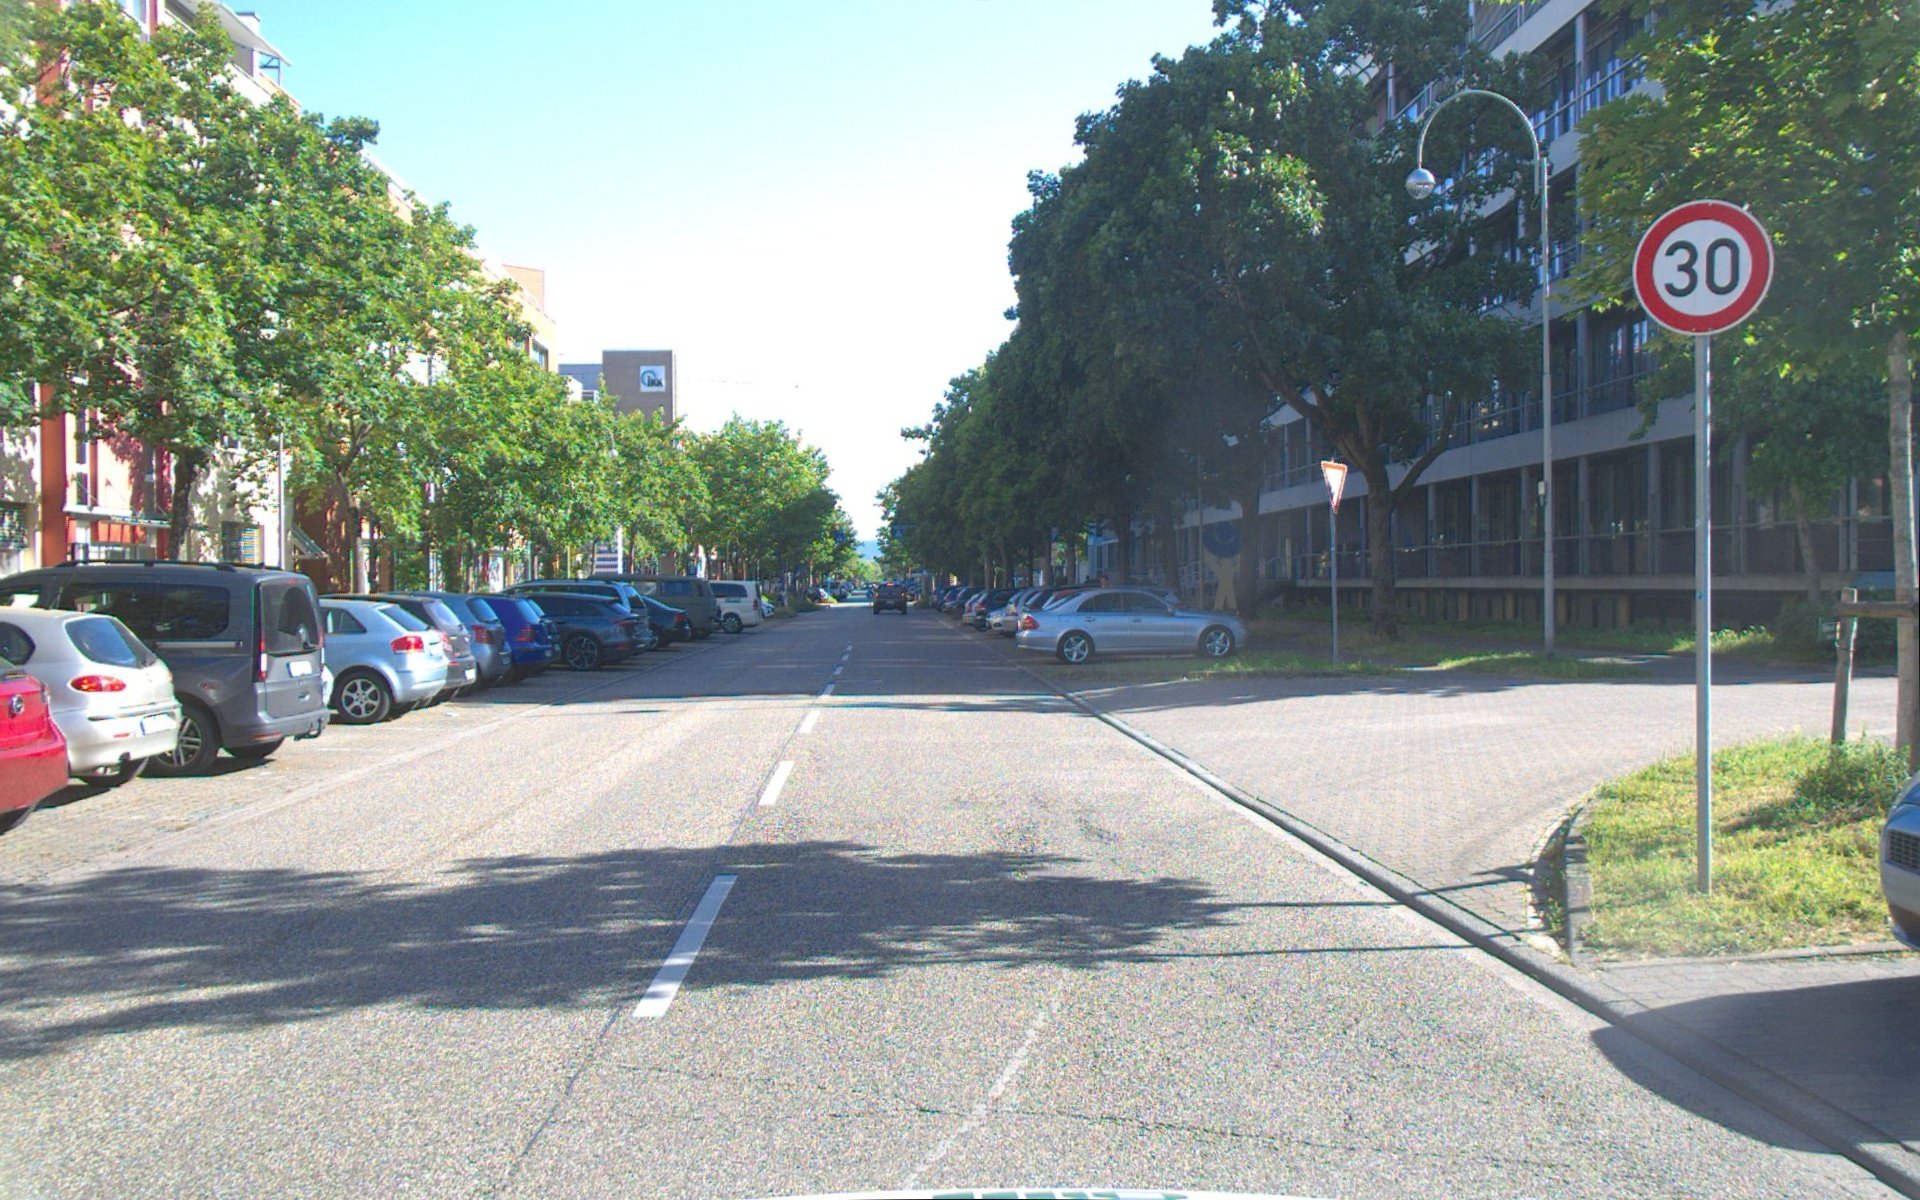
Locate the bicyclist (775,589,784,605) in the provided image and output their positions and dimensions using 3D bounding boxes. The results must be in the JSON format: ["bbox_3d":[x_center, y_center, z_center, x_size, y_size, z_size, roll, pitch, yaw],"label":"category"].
[{"bbox_3d":[-12.220,-0.214,112.175,0.521,1.110,0.794,-1,0,0],"label":"bicyclist"}]

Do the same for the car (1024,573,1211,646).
[{"bbox_3d":[3.860,0.221,41.156,4.423,1.569,1.922,-3,0,0],"label":"car"}]

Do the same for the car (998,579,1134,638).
[{"bbox_3d":[3.067,0.228,48.205,3.672,1.519,1.614,-3,0,-7],"label":"car"}]

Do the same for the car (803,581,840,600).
[{"bbox_3d":[-15.419,-1.086,184.176,3.904,2.049,2.000,-1,0,1],"label":"car"}]

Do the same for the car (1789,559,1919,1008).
[{"bbox_3d":[5.219,0.520,5.738,3.875,1.541,1.698,-3,0,-9],"label":"car"}]

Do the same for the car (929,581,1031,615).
[{"bbox_3d":[0.950,-0.098,80.421,4.731,1.444,2.030,-3,0,-5],"label":"car"}]

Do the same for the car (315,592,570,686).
[{"bbox_3d":[-8.474,0.626,27.336,3.652,1.452,1.839,1,0,-4],"label":"car"}]

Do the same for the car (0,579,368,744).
[{"bbox_3d":[-8.470,0.605,17.386,3.814,1.602,1.859,1,0,-3],"label":"car"}]

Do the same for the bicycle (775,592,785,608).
[{"bbox_3d":[-12.216,-0.003,112.202,0.521,1.091,1.300,-1,1,0],"label":"bicycle"}]

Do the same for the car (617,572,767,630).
[{"bbox_3d":[-9.643,0.033,59.797,5.153,2.001,1.942,1,0,-3],"label":"car"}]

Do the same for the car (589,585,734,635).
[{"bbox_3d":[-9.421,0.302,52.488,4.232,1.503,1.942,1,0,-1],"label":"car"}]

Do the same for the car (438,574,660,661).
[{"bbox_3d":[-8.649,0.352,35.077,4.235,1.747,1.961,1,0,-3],"label":"car"}]

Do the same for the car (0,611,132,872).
[{"bbox_3d":[-7.380,0.791,10.024,3.814,1.448,1.738,1,0,-3],"label":"car"}]

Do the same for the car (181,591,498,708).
[{"bbox_3d":[-8.314,0.649,22.457,3.654,1.472,1.857,1,0,-6],"label":"car"}]

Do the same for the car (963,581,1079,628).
[{"bbox_3d":[2.146,0.140,58.476,3.892,1.444,1.709,-3,0,-5],"label":"car"}]

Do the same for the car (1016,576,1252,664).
[{"bbox_3d":[3.442,0.388,33.245,4.486,1.501,1.746,-3,0,-2],"label":"car"}]

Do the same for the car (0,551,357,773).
[{"bbox_3d":[-7.653,0.509,14.856,3.814,1.843,1.785,1,0,-3],"label":"car"}]

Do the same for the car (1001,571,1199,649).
[{"bbox_3d":[3.187,0.215,38.411,4.422,1.569,1.922,-3,0,1],"label":"car"}]

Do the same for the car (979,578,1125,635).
[{"bbox_3d":[2.782,0.179,50.600,4.201,1.519,2.002,-3,0,-4],"label":"car"}]

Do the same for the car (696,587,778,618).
[{"bbox_3d":[-11.040,0.132,82.198,3.908,1.512,1.805,0,0,-4],"label":"car"}]

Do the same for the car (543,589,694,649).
[{"bbox_3d":[-8.683,0.466,42.329,3.657,1.452,1.722,1,0,-9],"label":"car"}]

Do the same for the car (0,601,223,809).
[{"bbox_3d":[-7.930,0.736,12.609,3.814,1.448,1.738,1,0,-3],"label":"car"}]

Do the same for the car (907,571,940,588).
[{"bbox_3d":[-4.586,-2.566,207.298,3.909,2.049,1.998,-1,0,-5],"label":"car"}]

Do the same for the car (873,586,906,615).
[{"bbox_3d":[-4.243,0.039,99.298,1.954,1.668,3.998,1,0,-3],"label":"car"}]

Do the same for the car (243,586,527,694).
[{"bbox_3d":[-8.610,0.580,25.012,3.652,1.535,1.858,1,0,-4],"label":"car"}]

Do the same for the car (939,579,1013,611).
[{"bbox_3d":[0.823,-0.288,88.760,3.870,1.541,1.812,-3,0,-2],"label":"car"}]

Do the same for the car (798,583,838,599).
[{"bbox_3d":[-14.011,-0.872,162.756,3.777,1.499,1.809,1,0,-9],"label":"car"}]

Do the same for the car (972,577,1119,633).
[{"bbox_3d":[2.699,0.152,53.075,4.500,1.519,1.762,-3,0,-3],"label":"car"}]

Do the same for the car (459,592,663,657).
[{"bbox_3d":[-8.971,0.540,37.454,4.235,1.382,1.756,1,0,-4],"label":"car"}]

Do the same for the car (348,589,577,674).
[{"bbox_3d":[-9.000,0.549,30.127,3.652,1.452,1.771,1,0,-4],"label":"car"}]

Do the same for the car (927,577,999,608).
[{"bbox_3d":[0.174,-0.452,103.097,4.267,1.733,1.810,-3,0,-6],"label":"car"}]

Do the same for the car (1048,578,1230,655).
[{"bbox_3d":[3.861,0.345,36.211,3.758,1.472,1.922,-3,0,1],"label":"car"}]

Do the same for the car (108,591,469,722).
[{"bbox_3d":[-8.039,0.656,20.109,3.654,1.472,1.874,1,0,-6],"label":"car"}]

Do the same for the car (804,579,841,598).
[{"bbox_3d":[-15.516,-1.266,187.242,3.904,2.049,2.000,-1,0,1],"label":"car"}]

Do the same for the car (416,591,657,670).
[{"bbox_3d":[-8.258,0.583,32.545,4.316,1.452,1.771,1,0,-5],"label":"car"}]

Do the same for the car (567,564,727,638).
[{"bbox_3d":[-9.387,0.018,49.803,4.396,2.126,2.082,1,0,-1],"label":"car"}]
